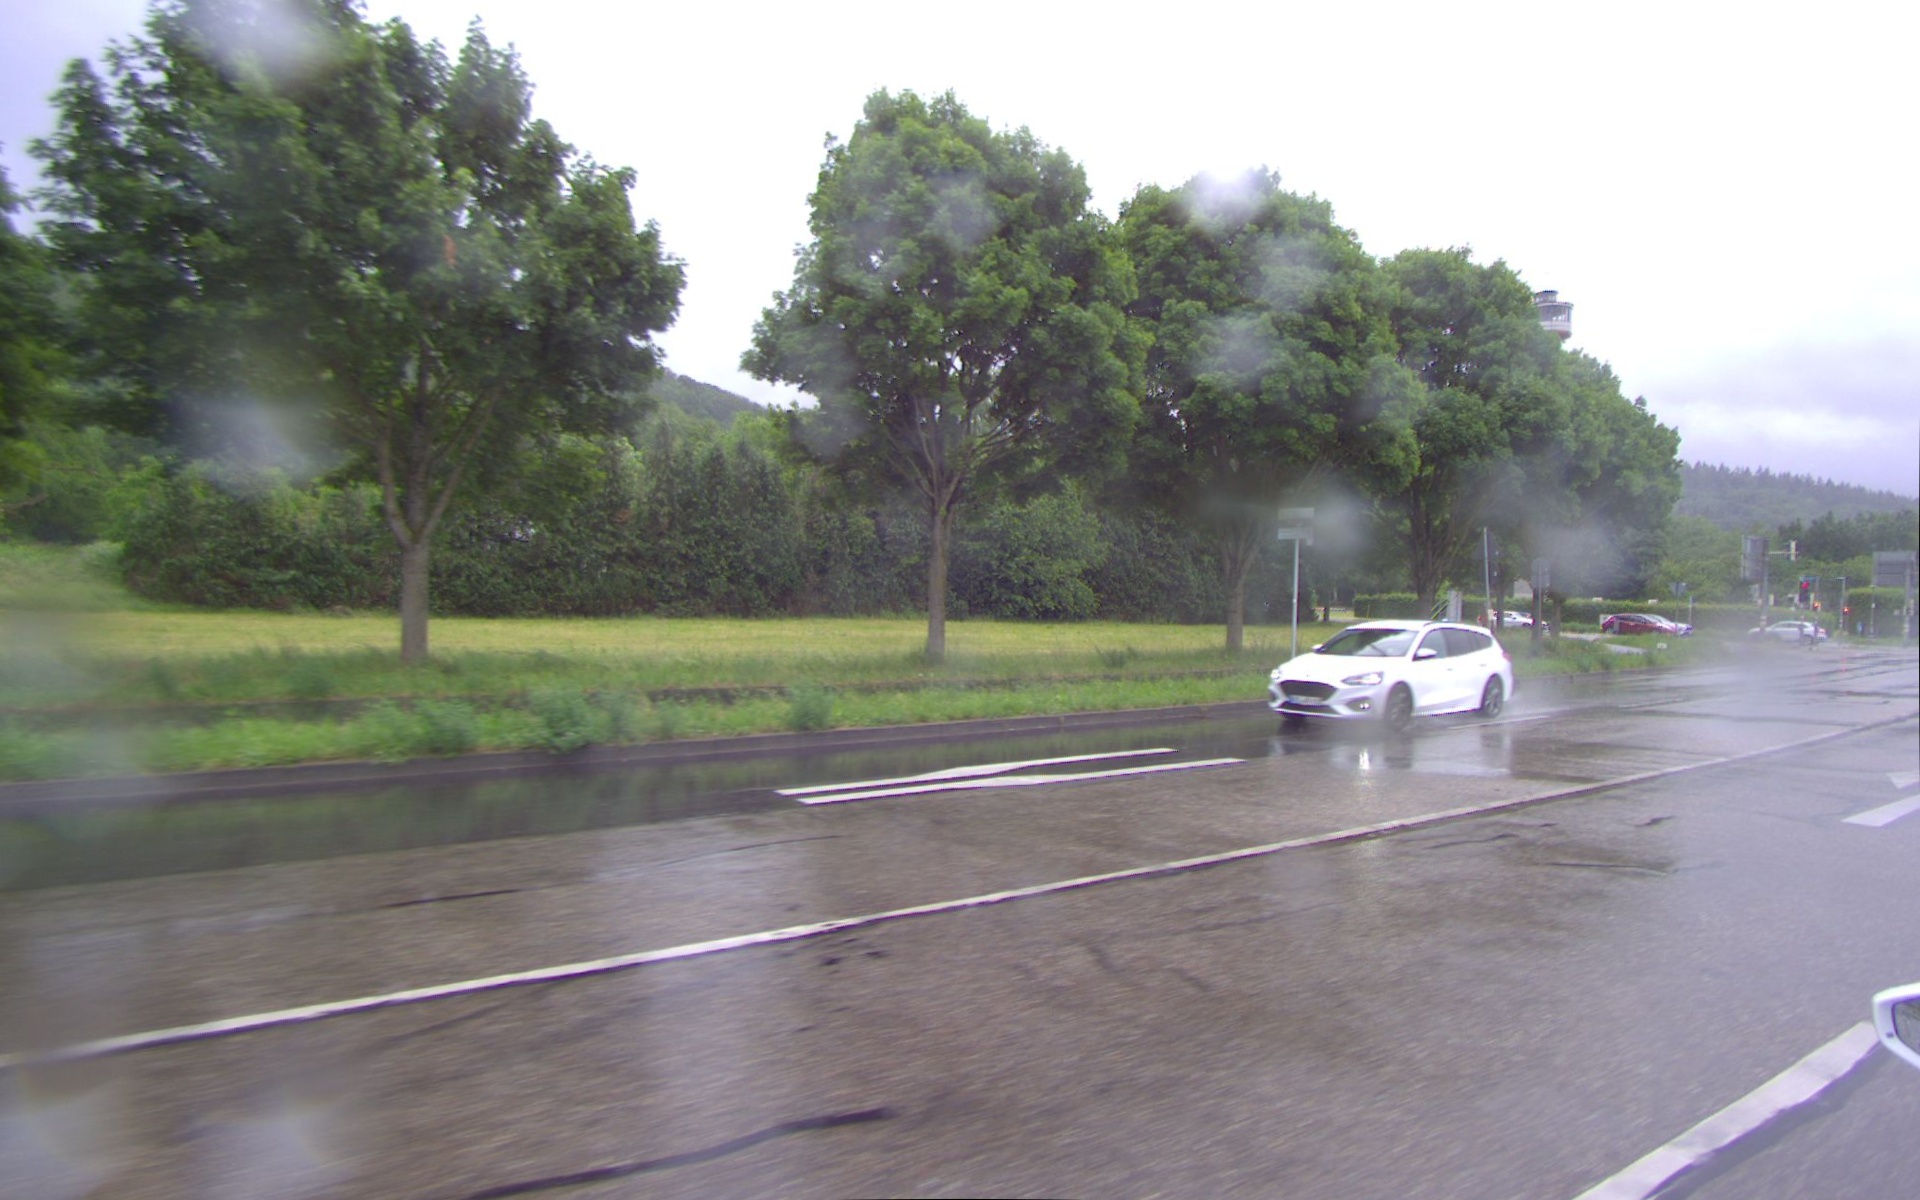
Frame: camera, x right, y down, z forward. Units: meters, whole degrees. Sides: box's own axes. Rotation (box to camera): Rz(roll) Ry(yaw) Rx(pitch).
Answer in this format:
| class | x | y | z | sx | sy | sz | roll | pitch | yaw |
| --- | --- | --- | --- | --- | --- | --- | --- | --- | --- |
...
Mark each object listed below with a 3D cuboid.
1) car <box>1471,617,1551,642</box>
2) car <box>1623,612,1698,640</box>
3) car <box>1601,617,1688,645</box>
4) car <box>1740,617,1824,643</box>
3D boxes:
| class | x | y | z | sx | sy | sz | roll | pitch | yaw |
| --- | --- | --- | --- | --- | --- | --- | --- | --- | --- |
| car | 39.727 | 2.124 | 72.509 | 1.779 | 1.574 | 4.856 | 1 | 0 | -31 |
| car | 47.190 | 1.745 | 67.750 | 1.726 | 1.734 | 3.782 | 1 | 0 | -31 |
| car | 44.449 | 2.002 | 65.296 | 1.713 | 1.601 | 4.352 | 1 | 1 | -31 |
| car | 57.979 | 2.110 | 70.895 | 1.718 | 1.601 | 4.338 | 1 | 1 | -40 |
